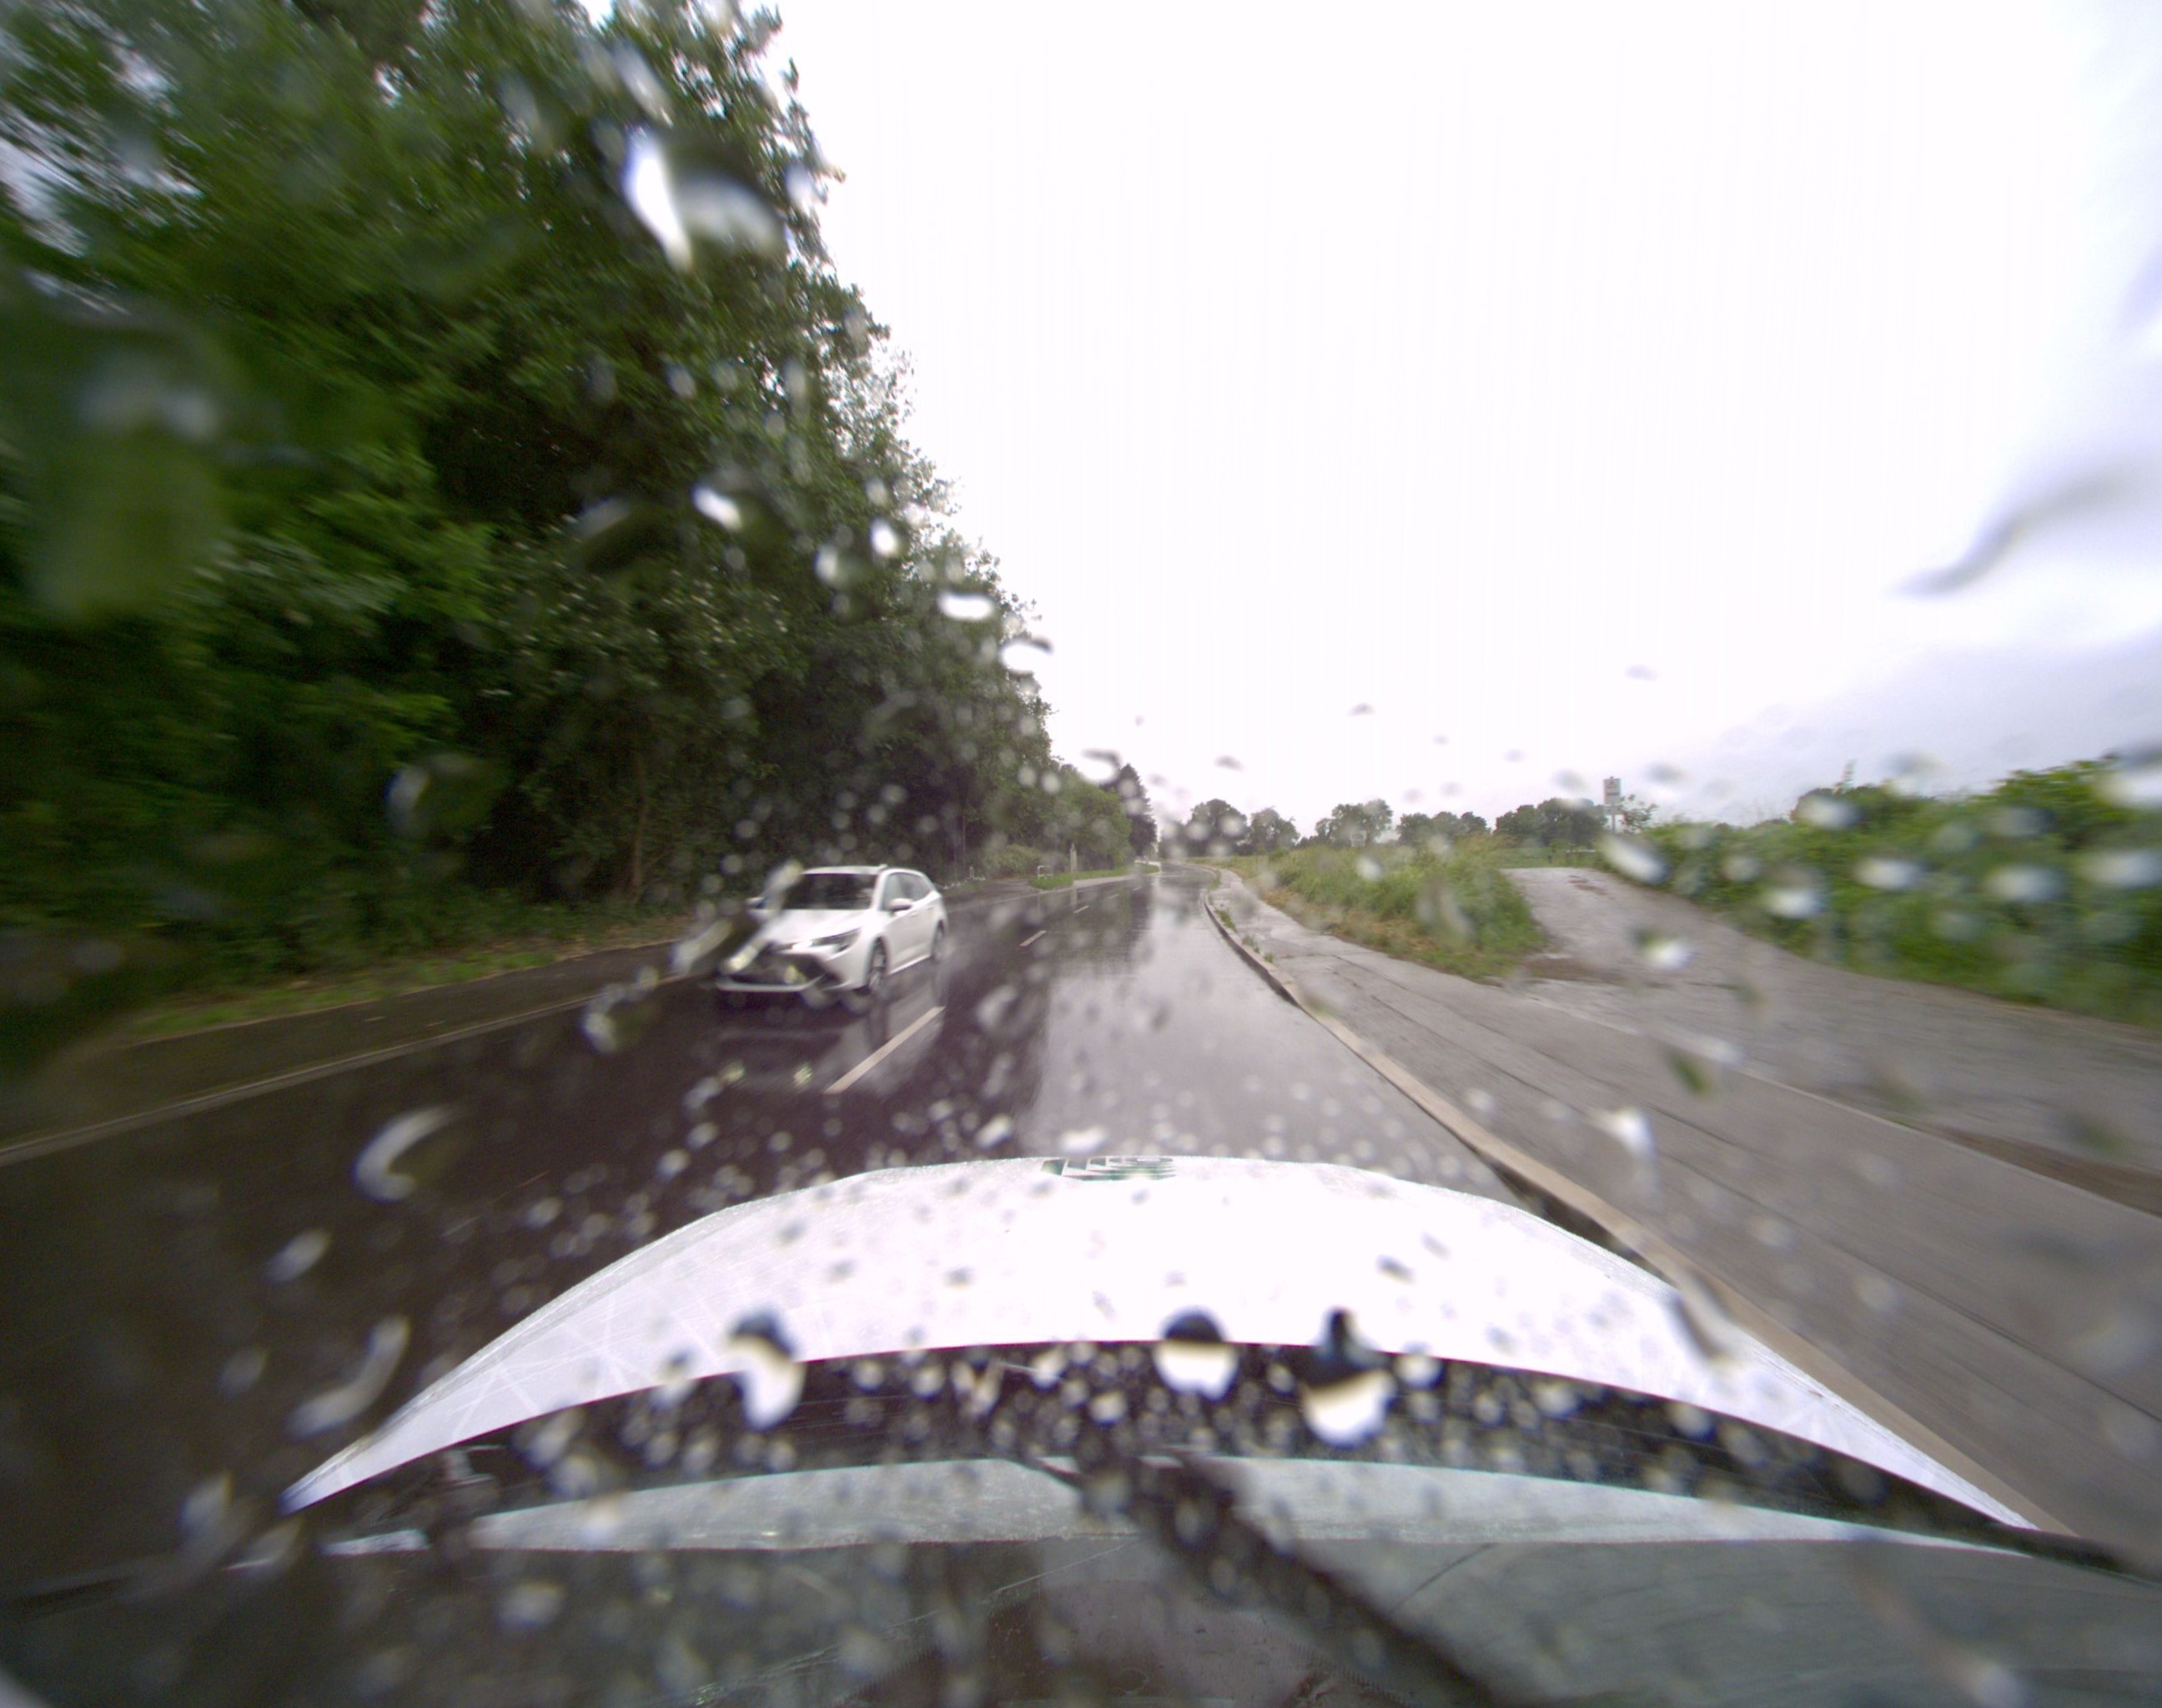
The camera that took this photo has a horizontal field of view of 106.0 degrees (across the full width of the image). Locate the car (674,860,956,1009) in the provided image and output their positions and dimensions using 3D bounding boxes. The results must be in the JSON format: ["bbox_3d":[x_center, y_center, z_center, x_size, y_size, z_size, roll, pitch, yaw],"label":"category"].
[{"bbox_3d":[-2.962,0.807,10.267,1.779,1.419,4.638,0,0,3],"label":"car"}]
